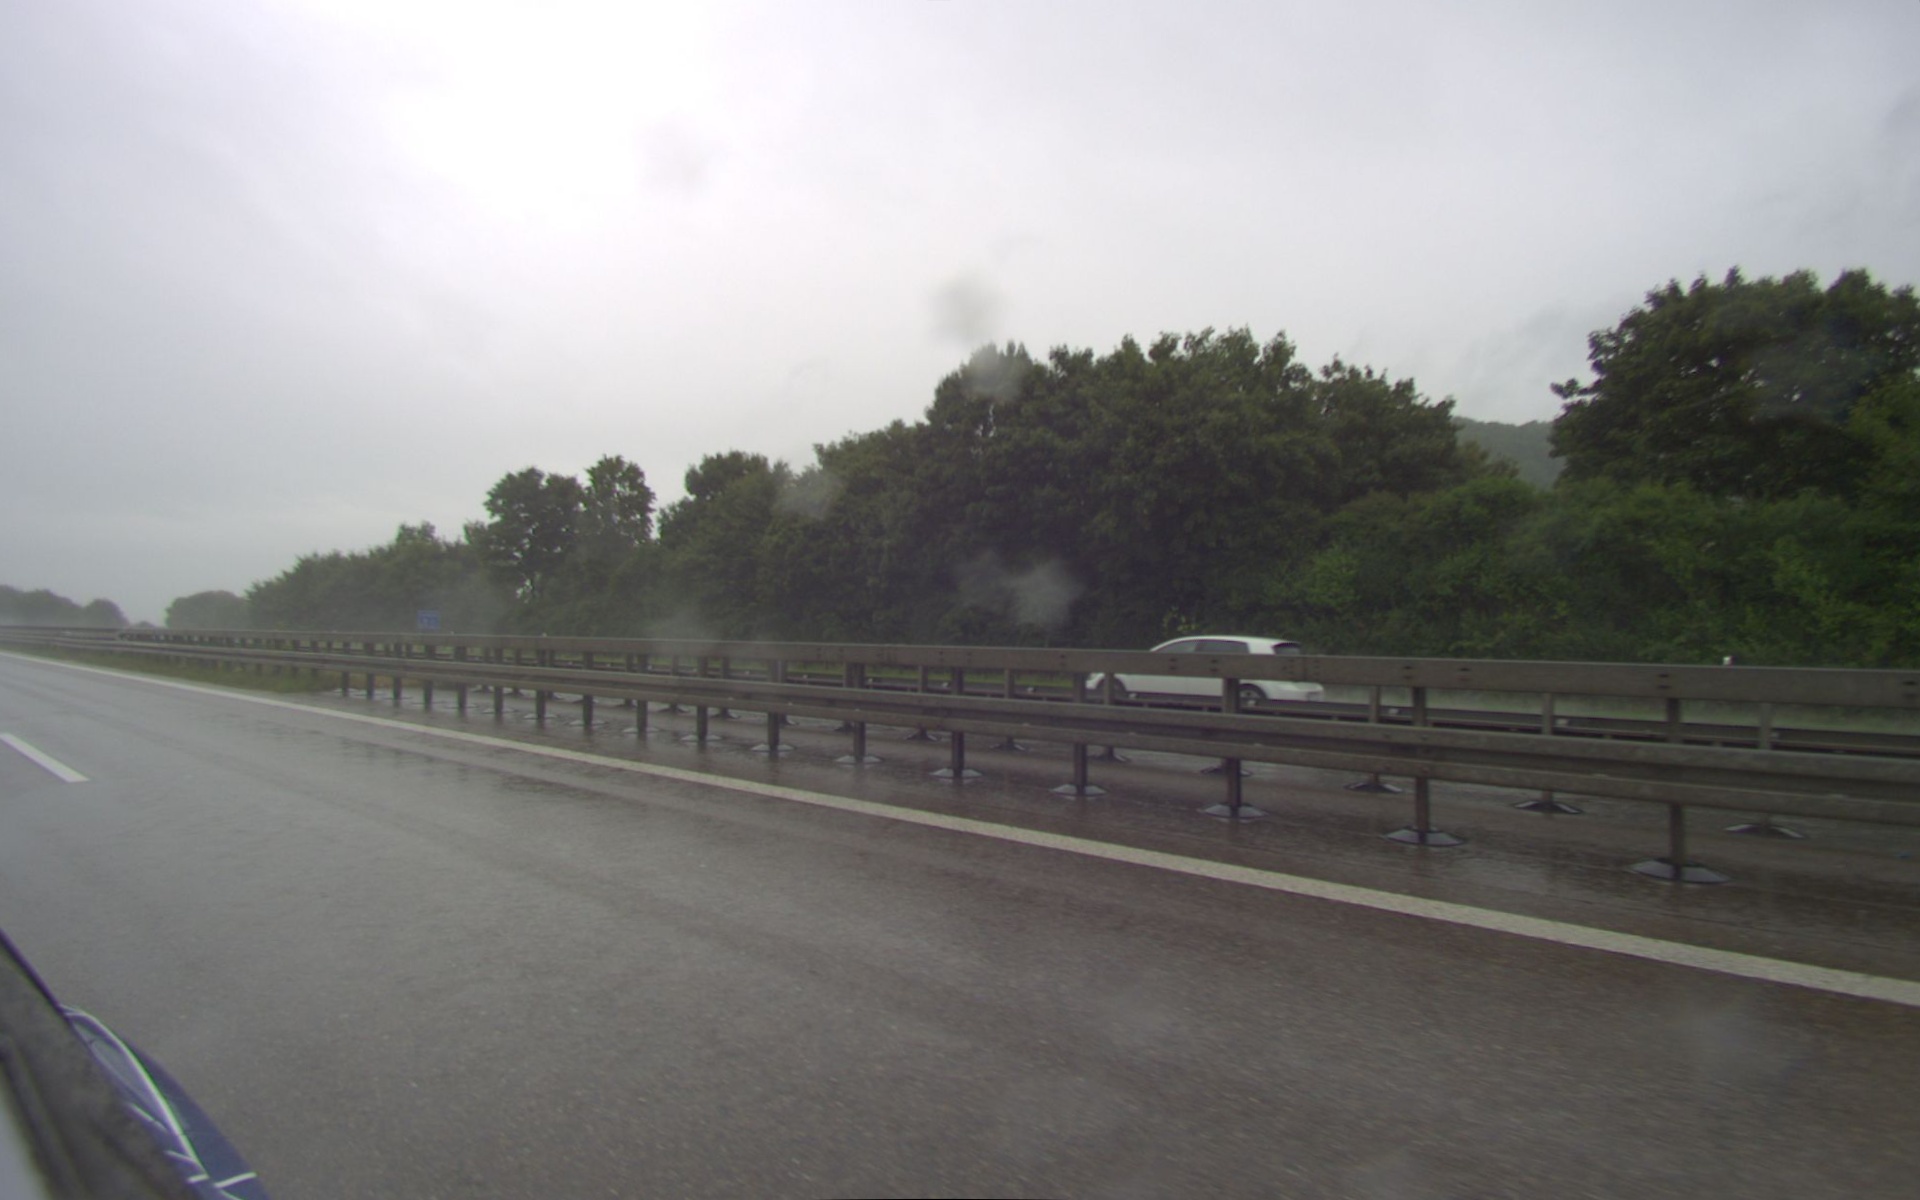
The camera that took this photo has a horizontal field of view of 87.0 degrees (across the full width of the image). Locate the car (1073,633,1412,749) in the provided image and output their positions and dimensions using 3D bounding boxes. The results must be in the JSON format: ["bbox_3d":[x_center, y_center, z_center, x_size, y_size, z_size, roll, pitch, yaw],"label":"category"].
[{"bbox_3d":[4.692,1.426,17.438,5.302,1.705,1.973,-2,-2,41],"label":"car"}]
